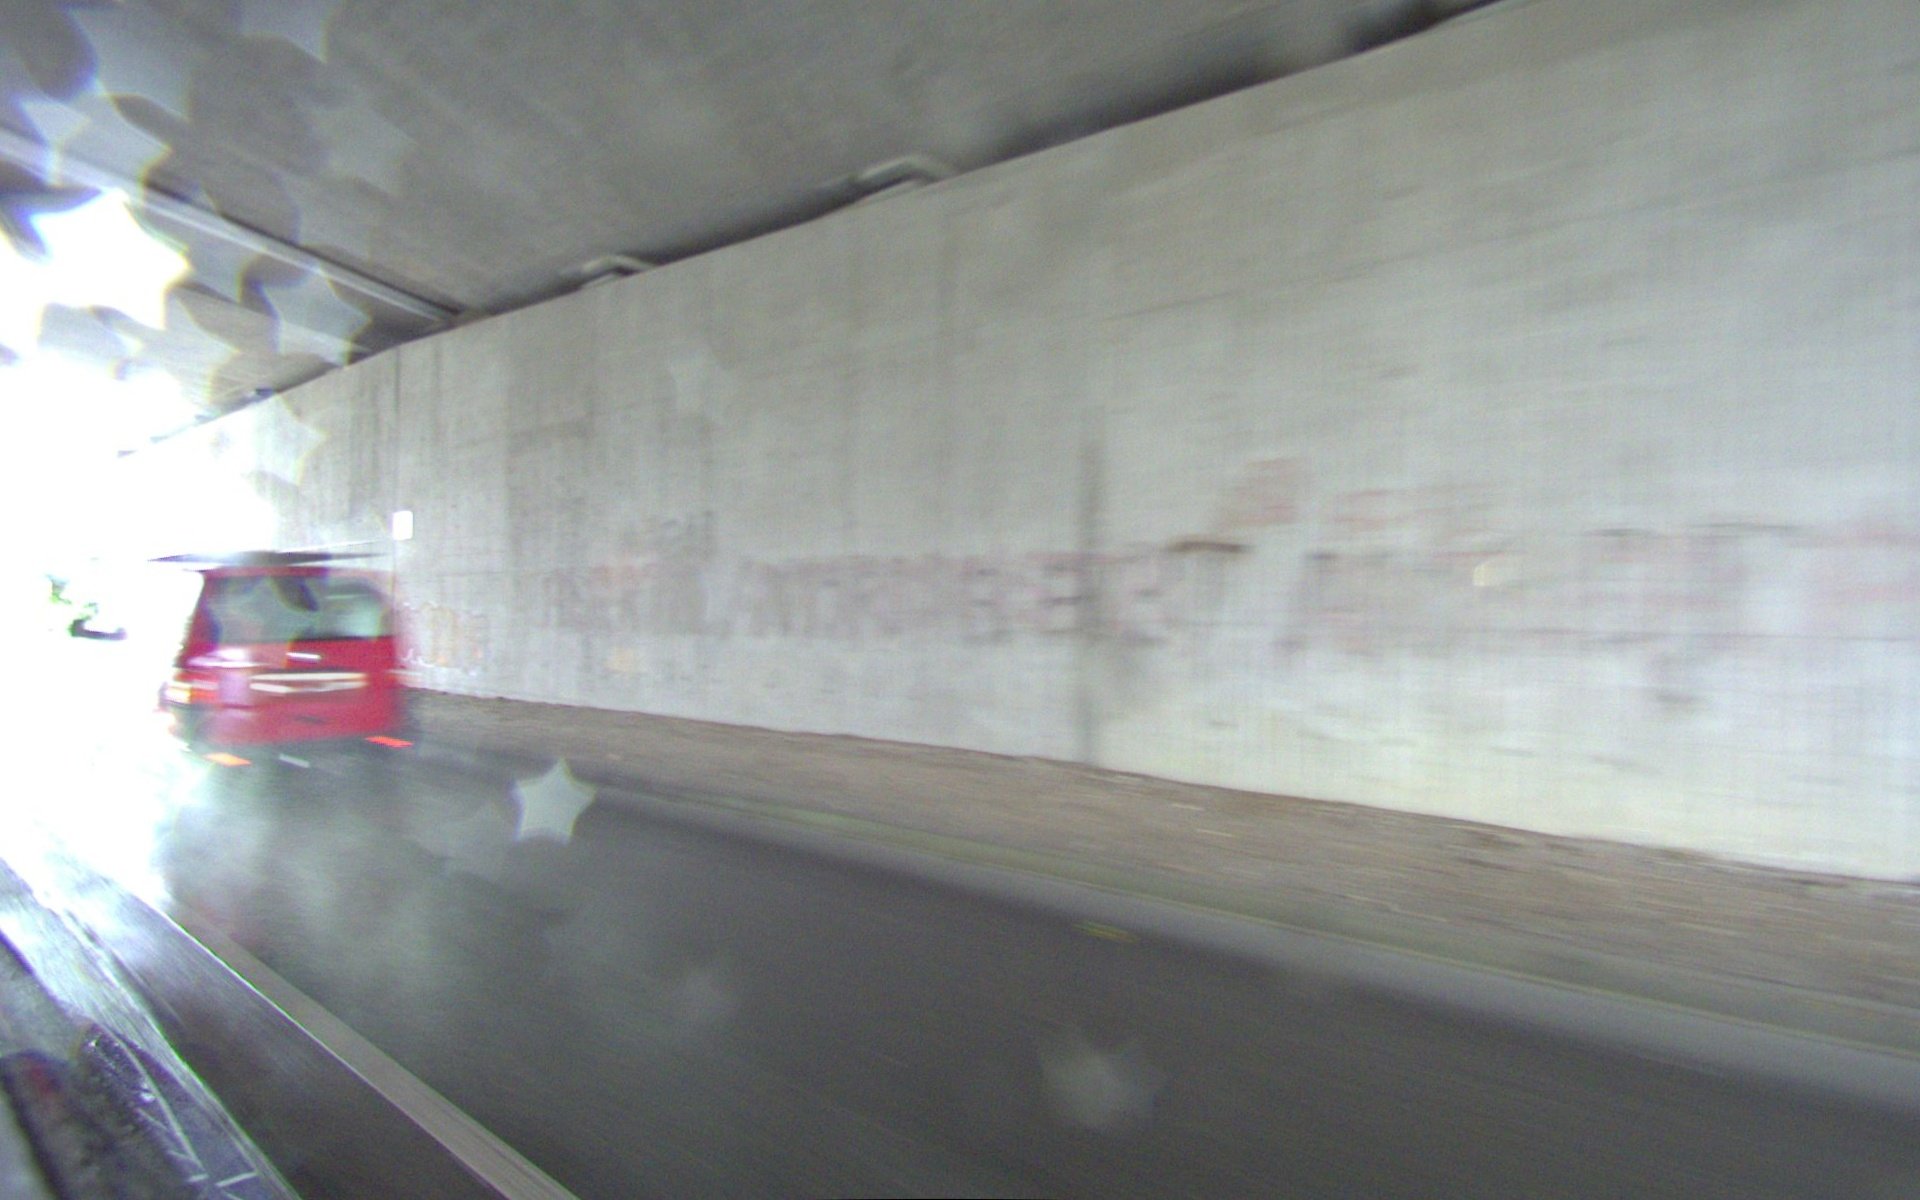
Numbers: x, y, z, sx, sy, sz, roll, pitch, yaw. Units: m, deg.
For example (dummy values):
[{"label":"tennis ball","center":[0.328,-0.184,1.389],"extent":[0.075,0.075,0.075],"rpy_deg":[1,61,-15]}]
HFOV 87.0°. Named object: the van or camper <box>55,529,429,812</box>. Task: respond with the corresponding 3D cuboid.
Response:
[{"label":"van or camper","center":[-7.168,0.544,9.886],"extent":[4.690,2.114,1.972],"rpy_deg":[-1,0,42]}]
